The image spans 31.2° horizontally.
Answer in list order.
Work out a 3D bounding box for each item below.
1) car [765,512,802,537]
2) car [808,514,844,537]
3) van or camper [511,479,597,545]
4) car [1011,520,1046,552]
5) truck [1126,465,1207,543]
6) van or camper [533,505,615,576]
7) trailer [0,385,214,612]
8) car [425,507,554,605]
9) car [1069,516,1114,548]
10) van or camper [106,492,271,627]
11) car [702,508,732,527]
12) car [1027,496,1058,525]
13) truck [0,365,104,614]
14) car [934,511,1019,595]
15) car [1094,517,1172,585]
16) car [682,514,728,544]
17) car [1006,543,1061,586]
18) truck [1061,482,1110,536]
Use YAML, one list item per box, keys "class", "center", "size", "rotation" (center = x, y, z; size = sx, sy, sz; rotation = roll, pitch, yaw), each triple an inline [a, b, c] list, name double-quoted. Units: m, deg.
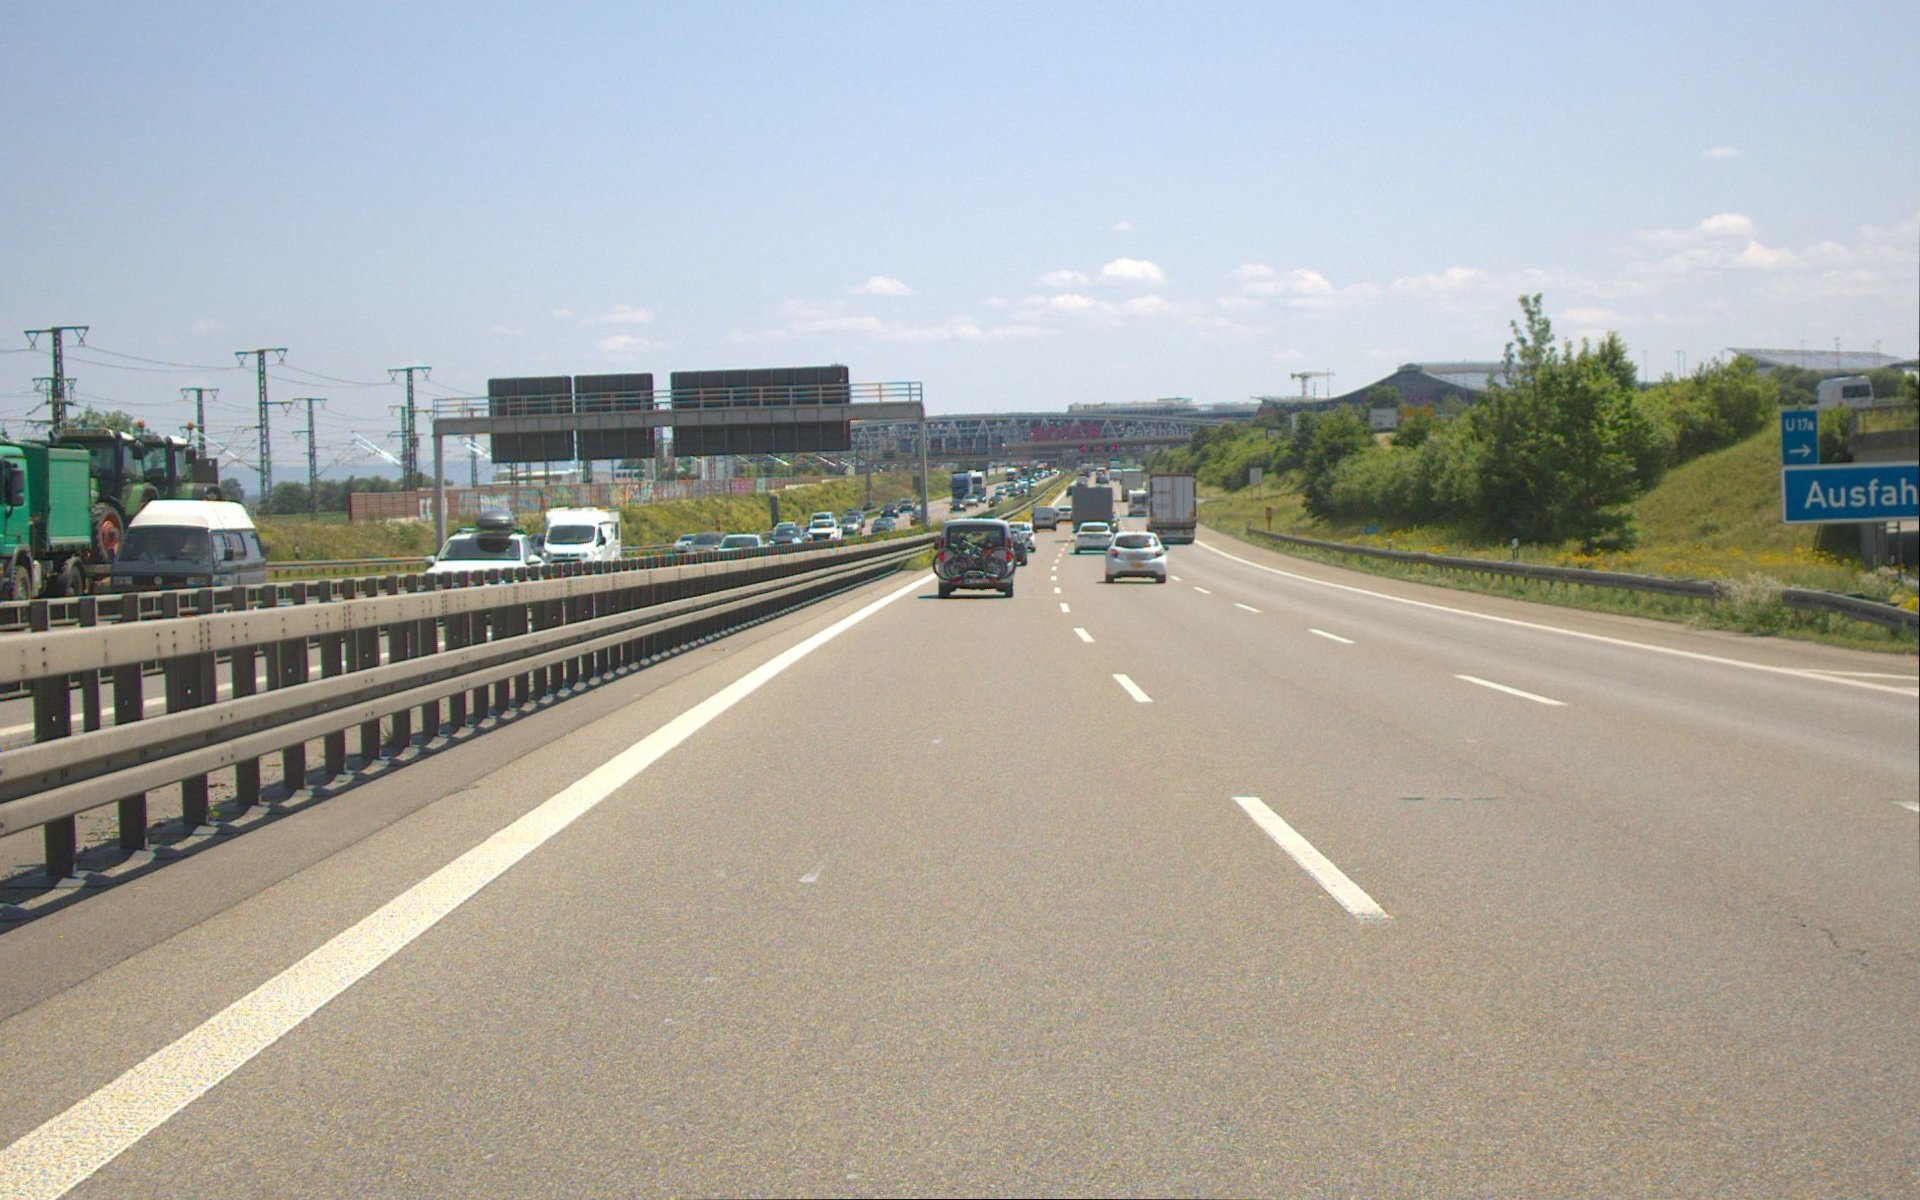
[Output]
- class: "car"
  center: [-9.437, -4.038, 184.135]
  size: [1.765, 1.342, 4.000]
  rotation: [0, 1, 1]
- class: "car"
  center: [-7.986, -4.429, 205.157]
  size: [1.947, 1.342, 4.000]
  rotation: [0, 1, 1]
- class: "van or camper"
  center: [-16.796, -3.643, 142.589]
  size: [2.517, 2.656, 8.064]
  rotation: [0, 1, 1]
- class: "car"
  center: [3.381, -3.157, 169.760]
  size: [1.576, 1.547, 3.963]
  rotation: [0, 0, 3]
- class: "truck"
  center: [11.857, -5.617, 198.537]
  size: [4.039, 4.247, 11.758]
  rotation: [0, 3, 1]
- class: "van or camper"
  center: [-12.741, -1.975, 113.787]
  size: [1.993, 2.292, 5.894]
  rotation: [0, 1, 1]
- class: "trailer"
  center: [-17.685, -1.920, 69.769]
  size: [2.759, 4.230, 11.201]
  rotation: [0, 0, -1]
- class: "car"
  center: [-8.848, -0.835, 64.978]
  size: [1.807, 1.792, 4.840]
  rotation: [0, 1, -1]
- class: "car"
  center: [6.210, -3.214, 162.700]
  size: [1.982, 1.468, 4.000]
  rotation: [0, 0, 1]
- class: "van or camper"
  center: [-13.127, -0.715, 58.734]
  size: [1.756, 2.214, 4.942]
  rotation: [0, 1, -1]
- class: "car"
  center: [-18.151, -6.156, 256.773]
  size: [1.947, 1.342, 4.000]
  rotation: [0, 1, 1]
- class: "car"
  center: [6.143, -6.716, 257.082]
  size: [2.186, 1.996, 4.001]
  rotation: [0, 4, -1]
- class: "truck"
  center: [-17.599, -1.885, 61.821]
  size: [2.759, 4.230, 6.978]
  rotation: [0, 0, -1]
- class: "car"
  center: [0.387, -1.071, 80.809]
  size: [1.926, 1.912, 4.948]
  rotation: [0, 0, 0]
- class: "car"
  center: [4.950, -1.384, 98.980]
  size: [1.926, 1.912, 4.518]
  rotation: [0, 0, -1]
- class: "car"
  center: [-11.238, -3.140, 151.903]
  size: [1.693, 1.342, 4.000]
  rotation: [0, 1, 1]
- class: "car"
  center: [2.859, -1.373, 132.684]
  size: [1.927, 1.621, 4.517]
  rotation: [0, 0, 3]
- class: "truck"
  center: [7.727, -5.578, 212.576]
  size: [2.702, 3.098, 10.659]
  rotation: [0, 0, 1]
